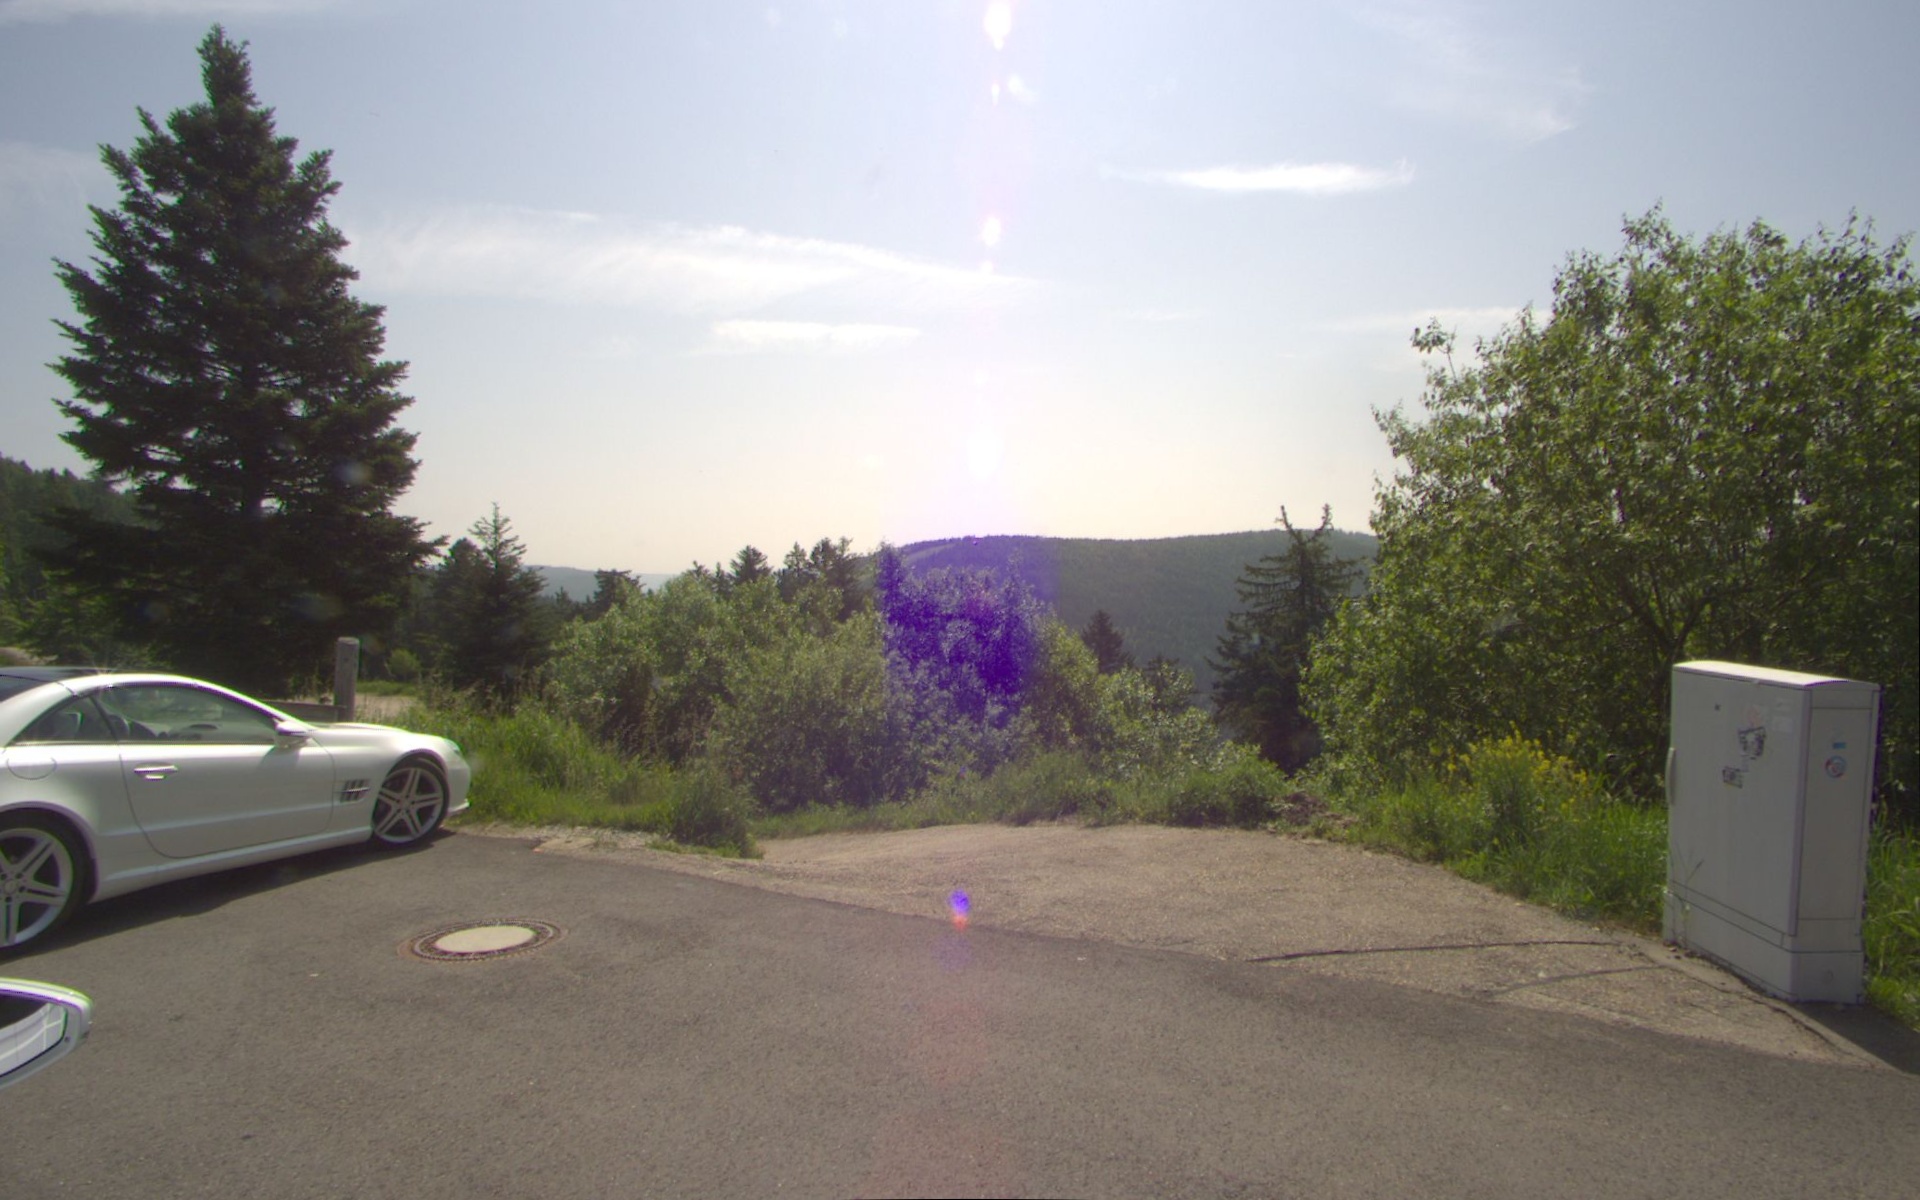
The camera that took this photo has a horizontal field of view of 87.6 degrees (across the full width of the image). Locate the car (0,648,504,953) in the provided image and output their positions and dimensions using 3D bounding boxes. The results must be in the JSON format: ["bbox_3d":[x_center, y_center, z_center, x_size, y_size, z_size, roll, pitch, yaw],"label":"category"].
[{"bbox_3d":[-4.879,0.965,5.874,1.722,1.312,4.413,1,-2,11],"label":"car"}]

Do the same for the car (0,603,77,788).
[{"bbox_3d":[-10.145,0.771,7.931,1.841,1.646,4.343,-1,-4,29],"label":"car"}]
